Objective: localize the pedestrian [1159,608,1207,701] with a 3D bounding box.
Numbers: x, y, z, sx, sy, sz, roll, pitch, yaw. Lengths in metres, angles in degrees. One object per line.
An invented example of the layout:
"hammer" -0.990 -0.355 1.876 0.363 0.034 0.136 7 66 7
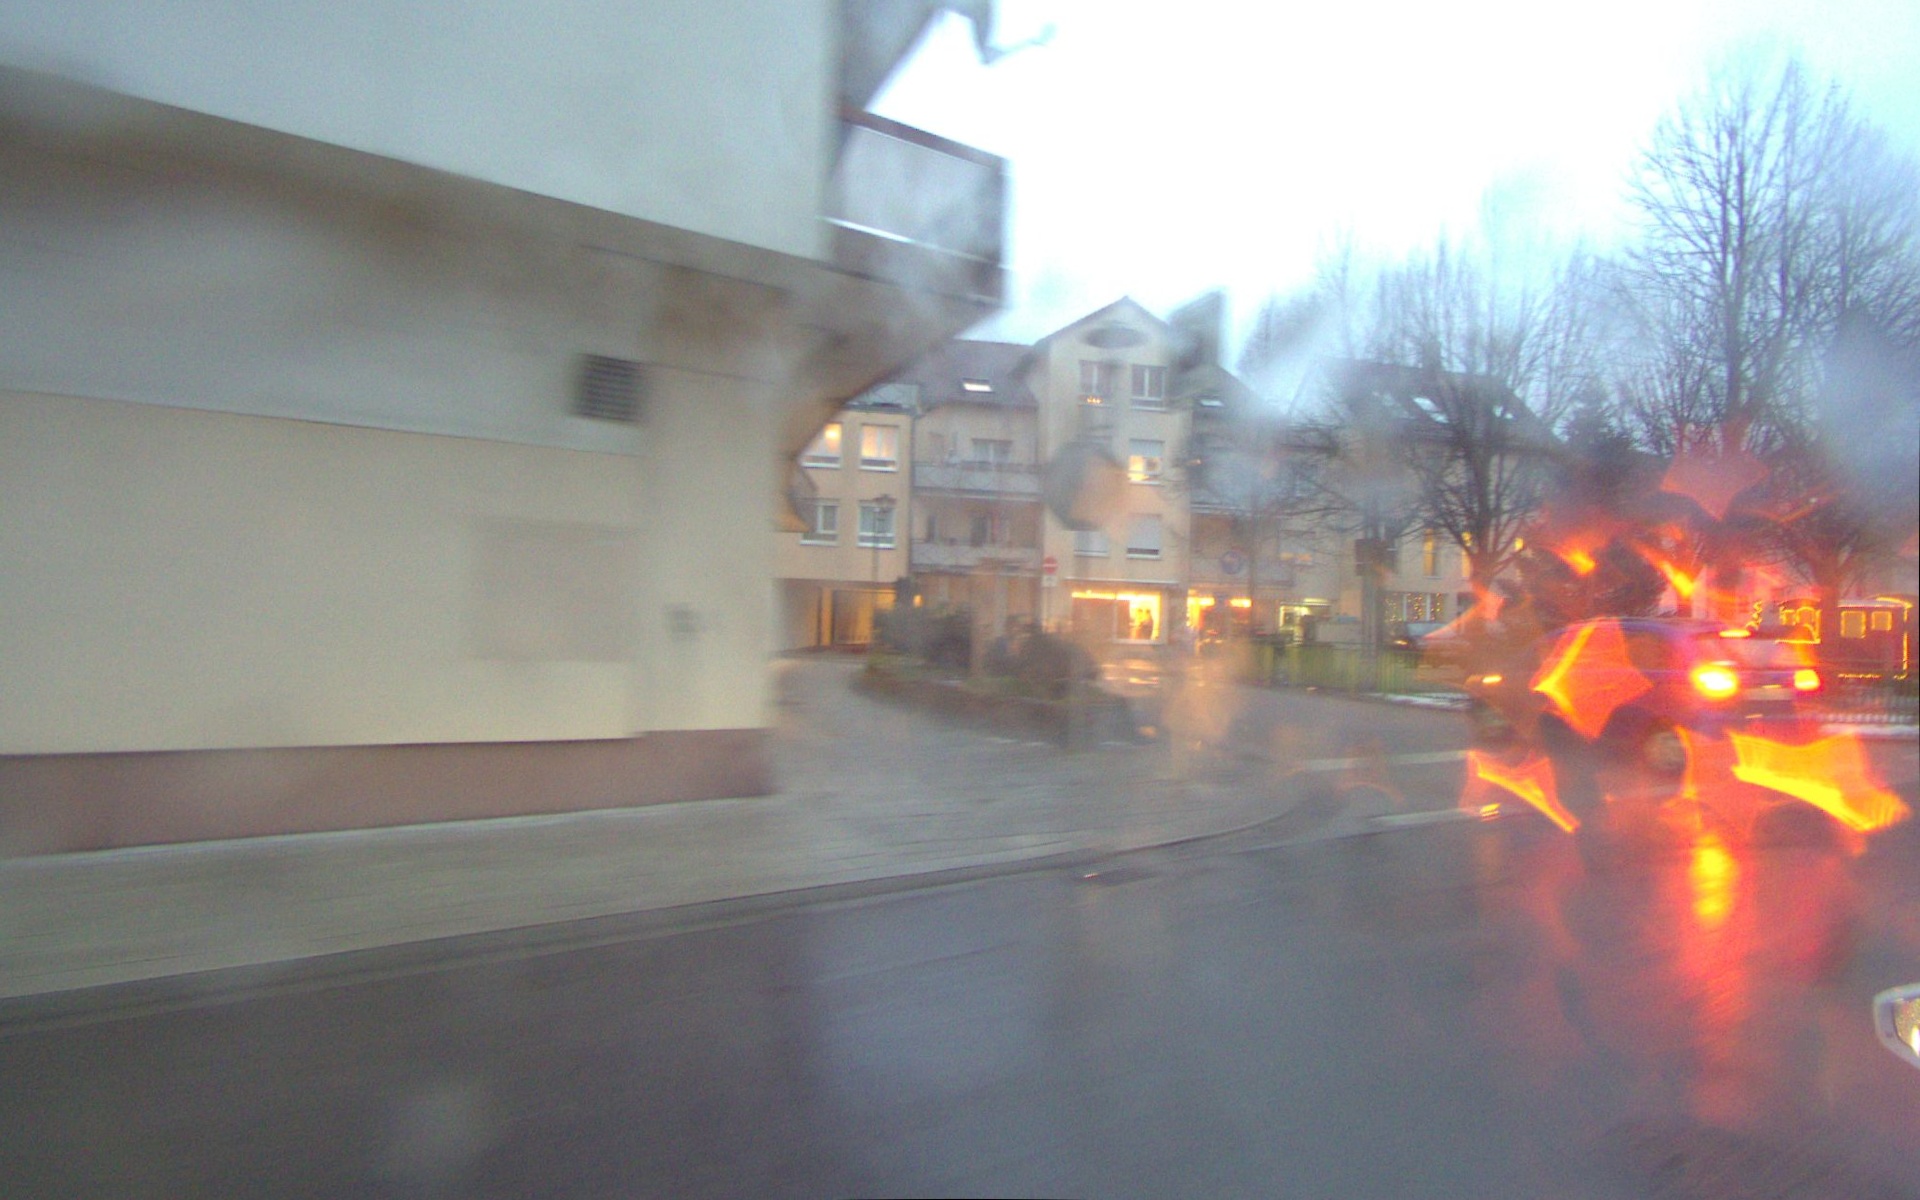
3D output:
"pedestrian" 3.693 0.881 16.640 0.637 1.478 0.650 1 0 23

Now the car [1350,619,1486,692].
"car" 13.758 1.617 30.421 1.786 2.015 3.993 1 0 -10

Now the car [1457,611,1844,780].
"car" 7.243 0.907 10.940 1.614 1.501 3.264 1 0 -11

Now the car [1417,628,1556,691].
"car" 16.357 1.805 31.420 1.786 1.753 3.993 1 0 -10

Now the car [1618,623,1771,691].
"car" 24.373 1.843 33.519 1.786 2.025 3.993 1 0 -10
